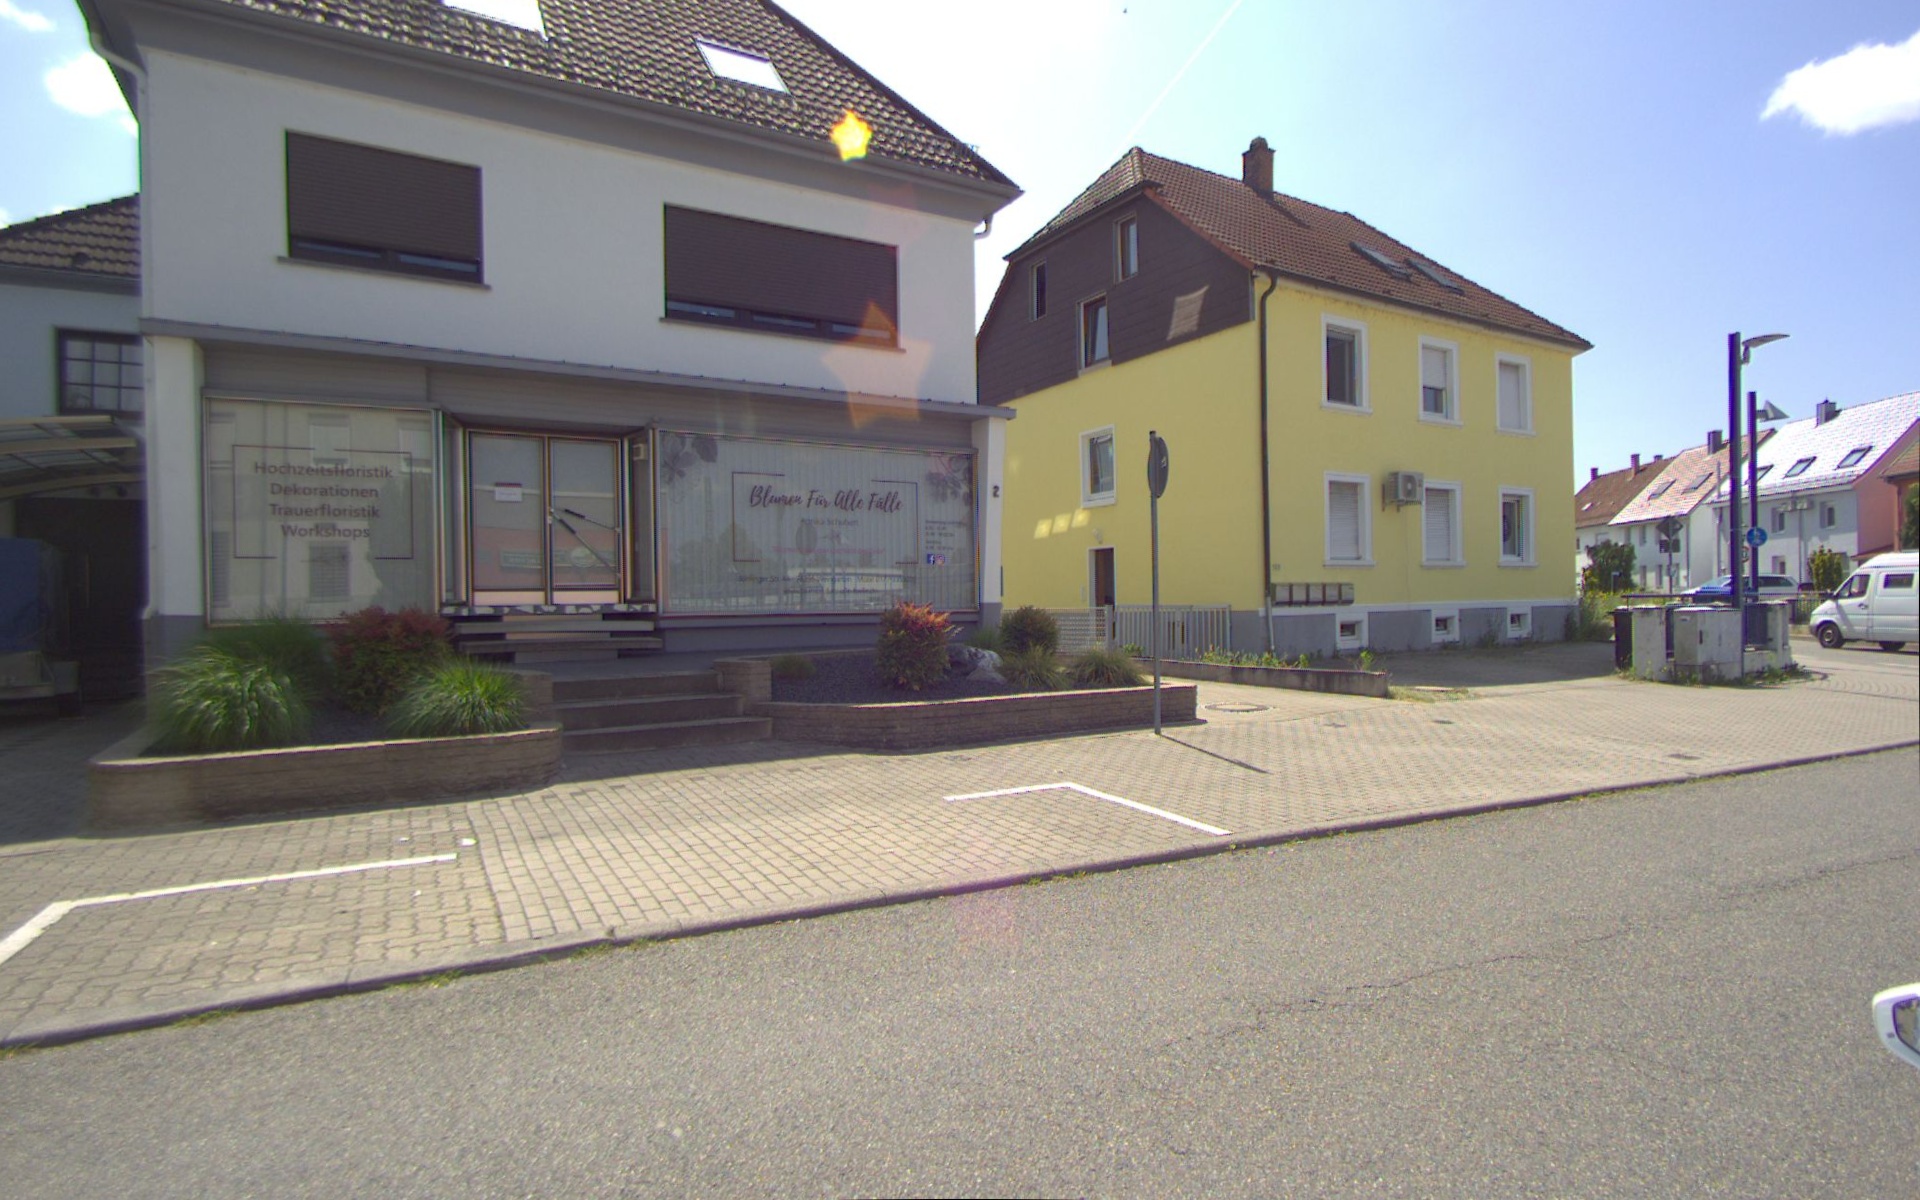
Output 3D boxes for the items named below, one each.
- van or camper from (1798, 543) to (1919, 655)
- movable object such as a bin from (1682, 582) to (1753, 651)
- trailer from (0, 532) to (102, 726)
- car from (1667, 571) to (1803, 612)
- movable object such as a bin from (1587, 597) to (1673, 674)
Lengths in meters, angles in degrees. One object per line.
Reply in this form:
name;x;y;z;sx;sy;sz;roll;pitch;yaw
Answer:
van or camper;23.839;-0.003;24.573;1.965;2.666;5.392;2;2;-1
movable object such as a bin;14.056;0.286;18.625;1.267;1.230;0.832;-1;1;-42
trailer;-11.723;0.301;12.196;1.658;2.141;3.146;0;1;-35
car;32.406;-0.372;42.084;4.171;1.509;1.748;2;3;3
movable object such as a bin;11.236;0.568;16.860;0.890;1.242;0.881;0;1;-28
